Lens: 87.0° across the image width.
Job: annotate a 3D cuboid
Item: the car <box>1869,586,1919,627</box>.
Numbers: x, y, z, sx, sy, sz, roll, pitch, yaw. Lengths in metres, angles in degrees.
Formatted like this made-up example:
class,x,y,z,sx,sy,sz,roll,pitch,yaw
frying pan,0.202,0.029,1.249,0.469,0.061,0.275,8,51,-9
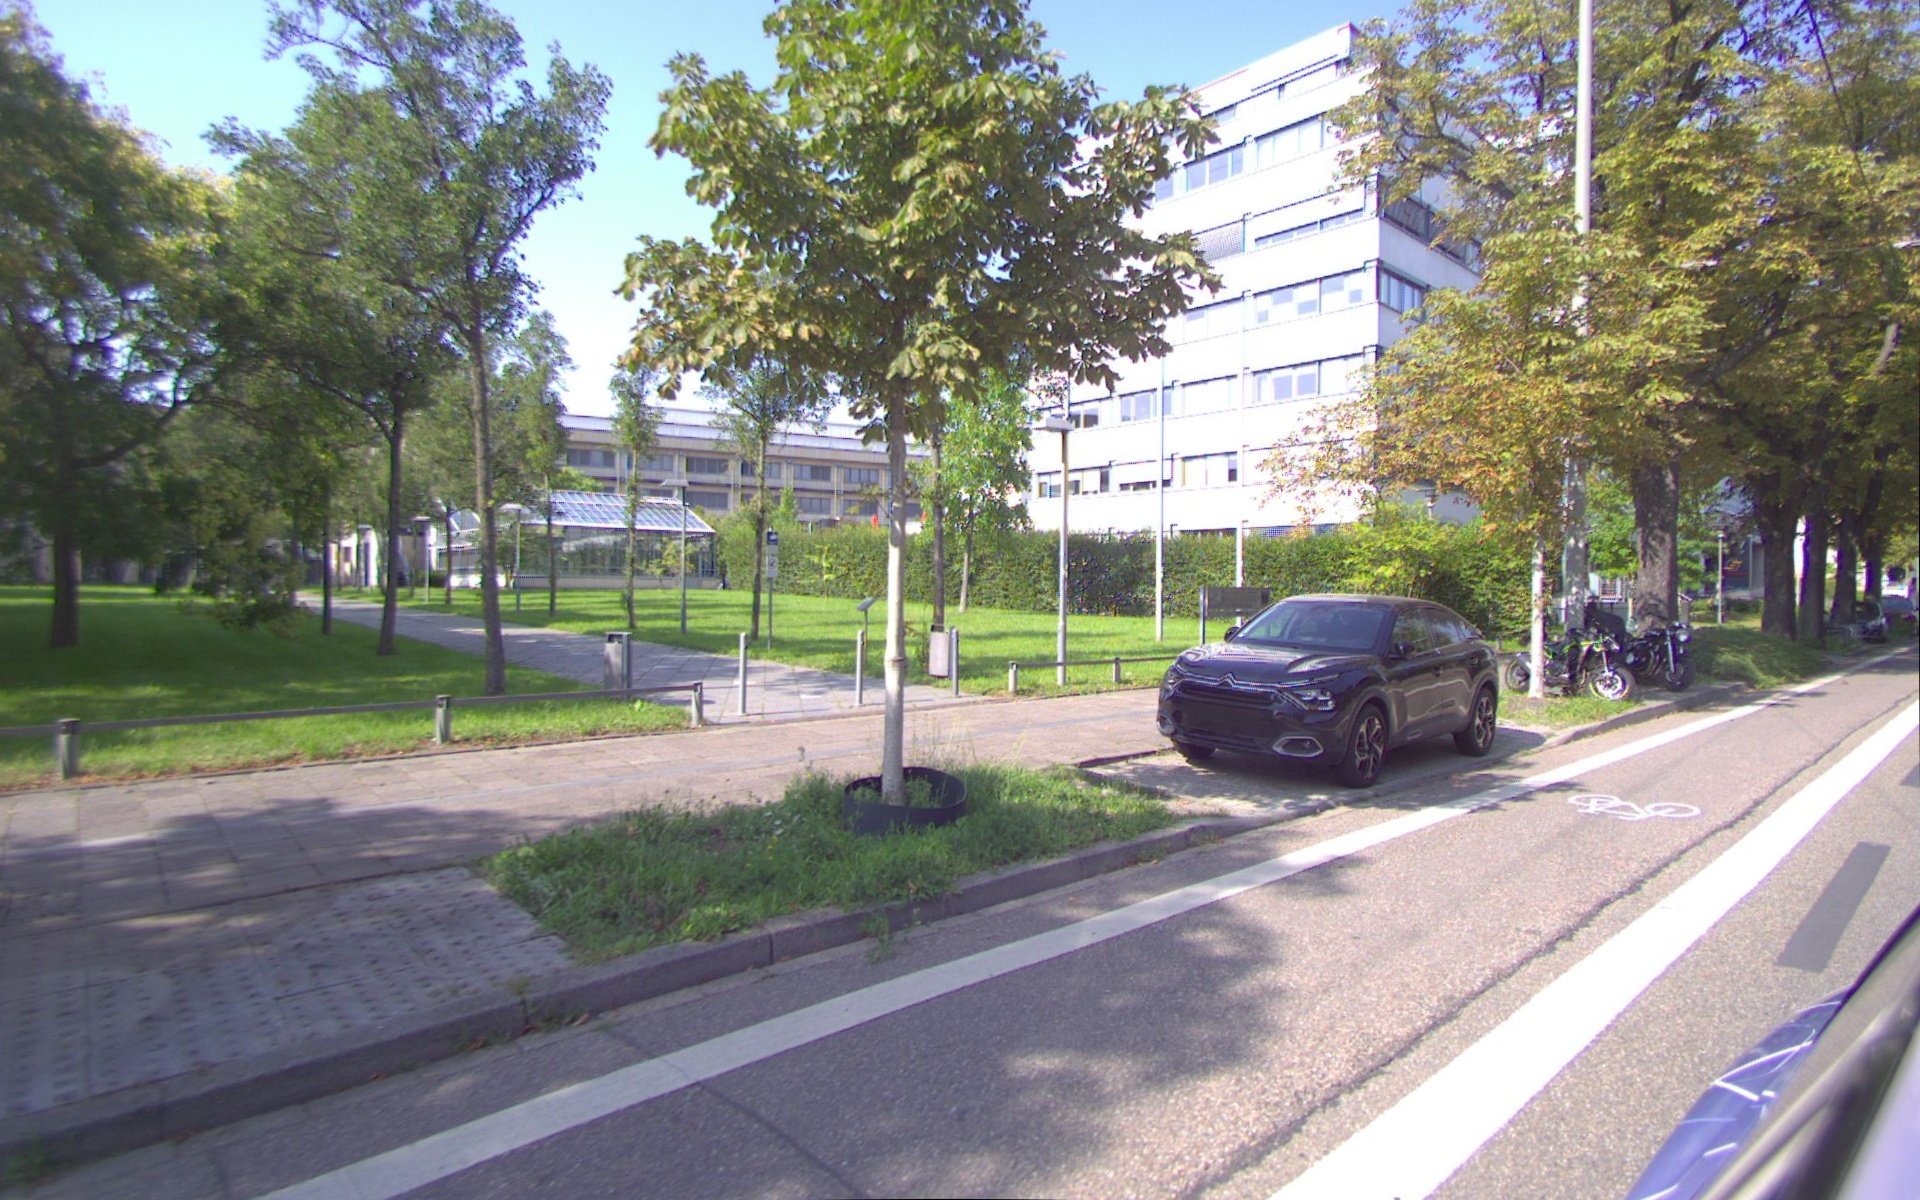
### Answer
class,x,y,z,sx,sy,sz,roll,pitch,yaw
car,41.207,0.252,44.217,4.114,1.673,1.864,-1,3,-44

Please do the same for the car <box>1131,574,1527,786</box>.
class,x,y,z,sx,sy,sz,roll,pitch,yaw
car,3.654,0.573,9.560,4.363,1.504,1.743,0,2,-44

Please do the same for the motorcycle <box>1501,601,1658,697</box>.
class,x,y,z,sx,sy,sz,roll,pitch,yaw
motorcycle,8.787,0.649,14.459,0.632,1.240,1.993,0,1,-17

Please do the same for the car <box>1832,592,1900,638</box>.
class,x,y,z,sx,sy,sz,roll,pitch,yaw
car,32.369,0.491,36.138,3.506,1.459,1.564,-1,4,-45

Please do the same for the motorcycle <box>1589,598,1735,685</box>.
class,x,y,z,sx,sy,sz,roll,pitch,yaw
motorcycle,11.551,0.644,16.758,0.828,1.258,2.069,1,2,-4

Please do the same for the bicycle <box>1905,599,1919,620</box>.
class,x,y,z,sx,sy,sz,roll,pitch,yaw
bicycle,49.206,0.487,51.468,0.376,1.027,1.618,0,1,-45

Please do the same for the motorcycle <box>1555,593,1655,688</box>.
class,x,y,z,sx,sy,sz,roll,pitch,yaw
motorcycle,10.315,0.601,16.277,0.834,1.343,2.055,2,2,19

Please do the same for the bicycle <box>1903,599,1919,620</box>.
class,x,y,z,sx,sy,sz,roll,pitch,yaw
bicycle,48.768,0.491,51.256,0.376,1.027,1.457,0,1,-45
